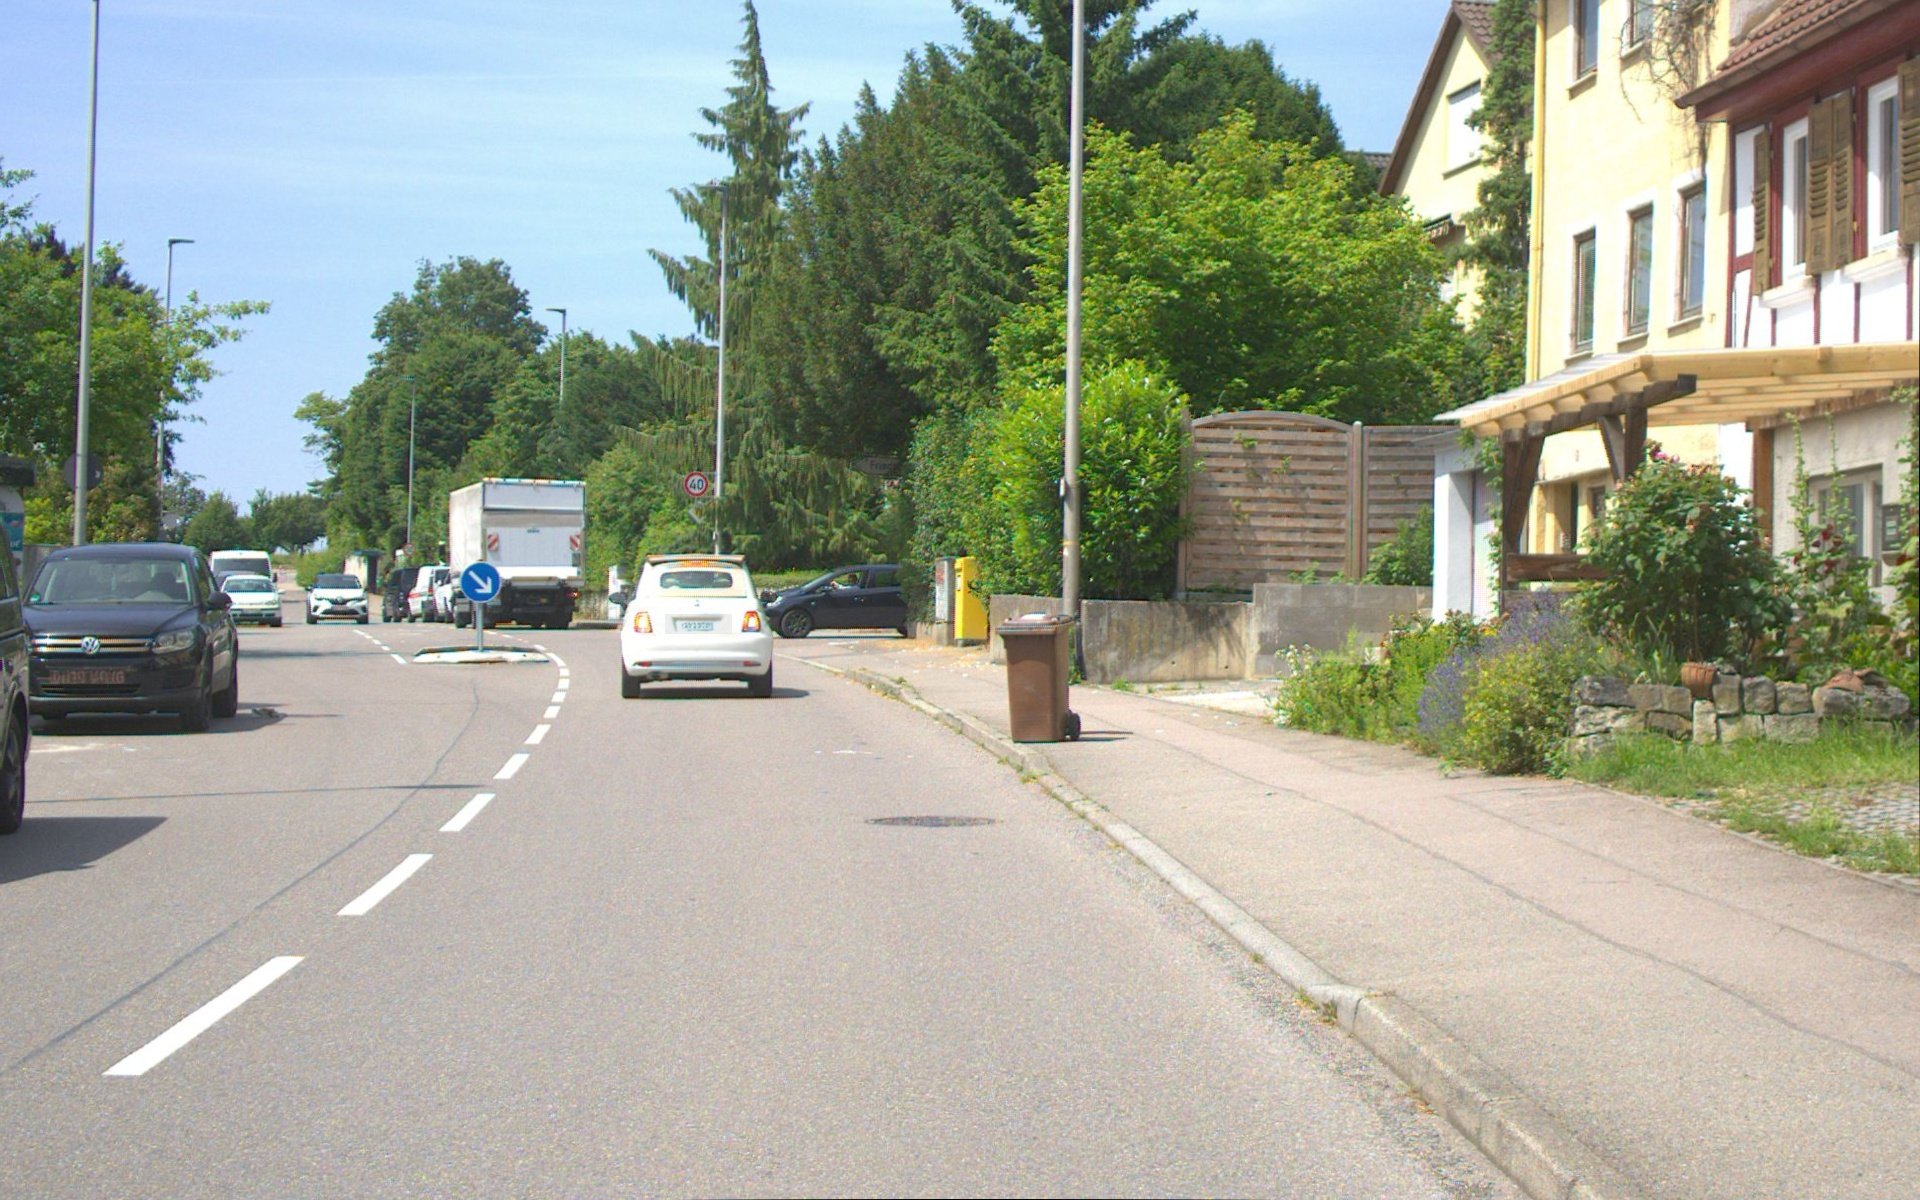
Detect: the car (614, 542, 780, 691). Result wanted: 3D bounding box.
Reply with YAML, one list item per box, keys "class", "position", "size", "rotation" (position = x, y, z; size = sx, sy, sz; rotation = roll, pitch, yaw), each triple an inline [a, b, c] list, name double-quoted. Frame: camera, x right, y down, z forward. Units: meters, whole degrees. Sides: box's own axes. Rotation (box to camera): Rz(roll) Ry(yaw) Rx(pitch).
- class: "car"
  position: [-2.847, 0.153, 37.869]
  size: [1.724, 1.555, 4.000]
  rotation: [0, 1, -3]

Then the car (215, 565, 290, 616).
- class: "car"
  position: [-19.706, -0.274, 95.694]
  size: [1.804, 1.393, 4.001]
  rotation: [0, 0, -15]

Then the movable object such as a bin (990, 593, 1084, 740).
- class: "movable object such as a bin"
  position: [0.567, 0.485, 25.136]
  size: [0.494, 1.030, 0.548]
  rotation: [-3, 1, 19]

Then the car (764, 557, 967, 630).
- class: "car"
  position: [-1.937, -0.139, 69.959]
  size: [3.932, 1.453, 1.659]
  rotation: [0, 0, -9]

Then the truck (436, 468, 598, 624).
- class: "truck"
  position: [-11.365, -1.317, 87.598]
  size: [3.067, 3.761, 7.870]
  rotation: [0, 0, -15]

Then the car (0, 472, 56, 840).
- class: "car"
  position: [-5.910, 0.310, 17.166]
  size: [1.890, 1.931, 4.987]
  rotation: [-1, 1, -5]

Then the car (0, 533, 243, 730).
- class: "car"
  position: [-7.454, 0.229, 30.665]
  size: [1.768, 1.630, 4.288]
  rotation: [0, 1, -8]

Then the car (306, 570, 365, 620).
- class: "car"
  position: [-19.453, -0.159, 107.043]
  size: [1.782, 1.524, 4.172]
  rotation: [0, 0, -11]

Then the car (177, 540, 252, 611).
- class: "car"
  position: [-23.583, -0.771, 108.631]
  size: [2.036, 2.192, 5.584]
  rotation: [0, 0, -15]
